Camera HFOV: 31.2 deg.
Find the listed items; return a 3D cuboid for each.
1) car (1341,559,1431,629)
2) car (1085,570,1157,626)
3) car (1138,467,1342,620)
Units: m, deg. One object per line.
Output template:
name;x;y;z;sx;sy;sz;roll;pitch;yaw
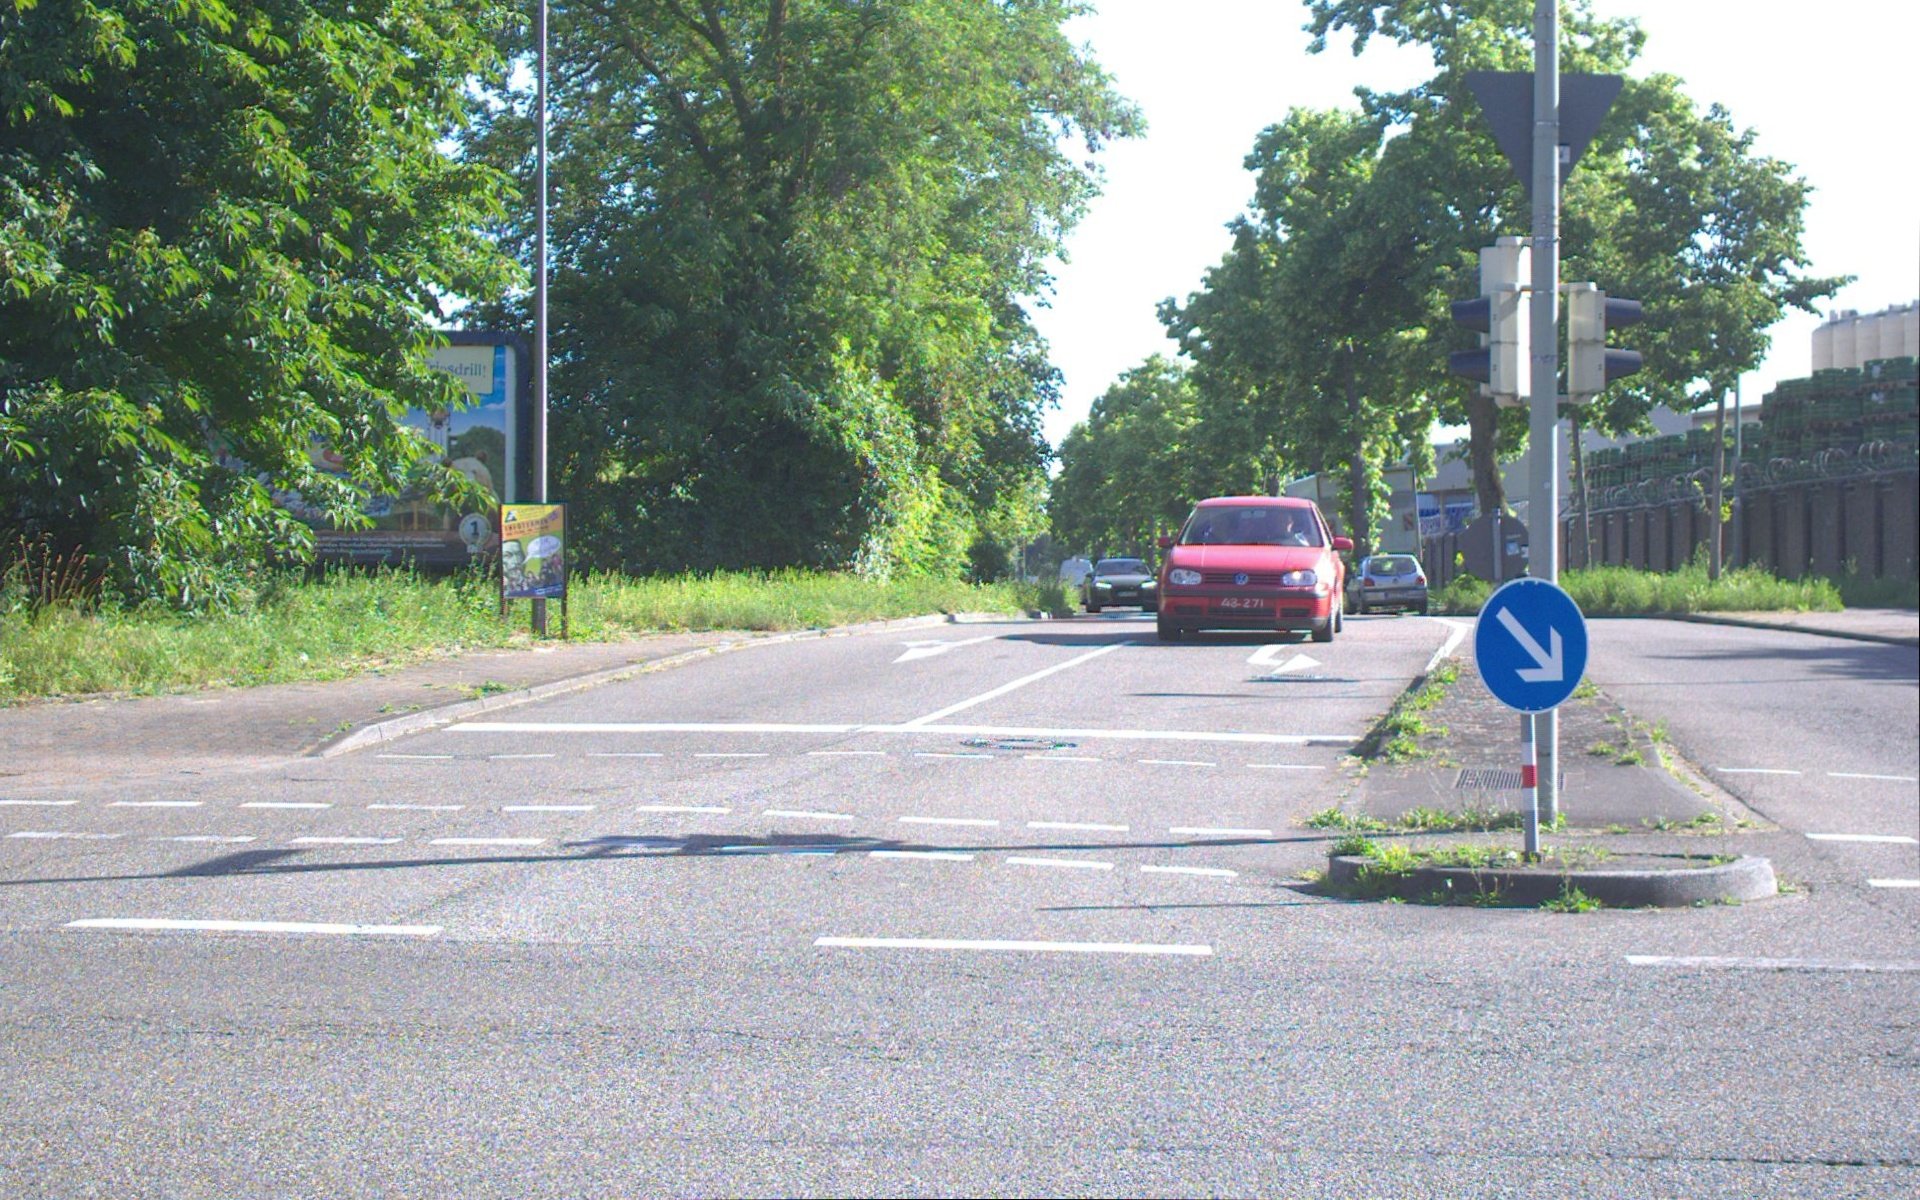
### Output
car;10.113;-0.152;81.728;1.689;1.626;3.131;0;1;-1
car;4.330;-0.071;92.808;1.857;1.464;4.138;0;1;2
car;2.780;-0.561;34.890;1.857;1.464;4.138;0;1;2
